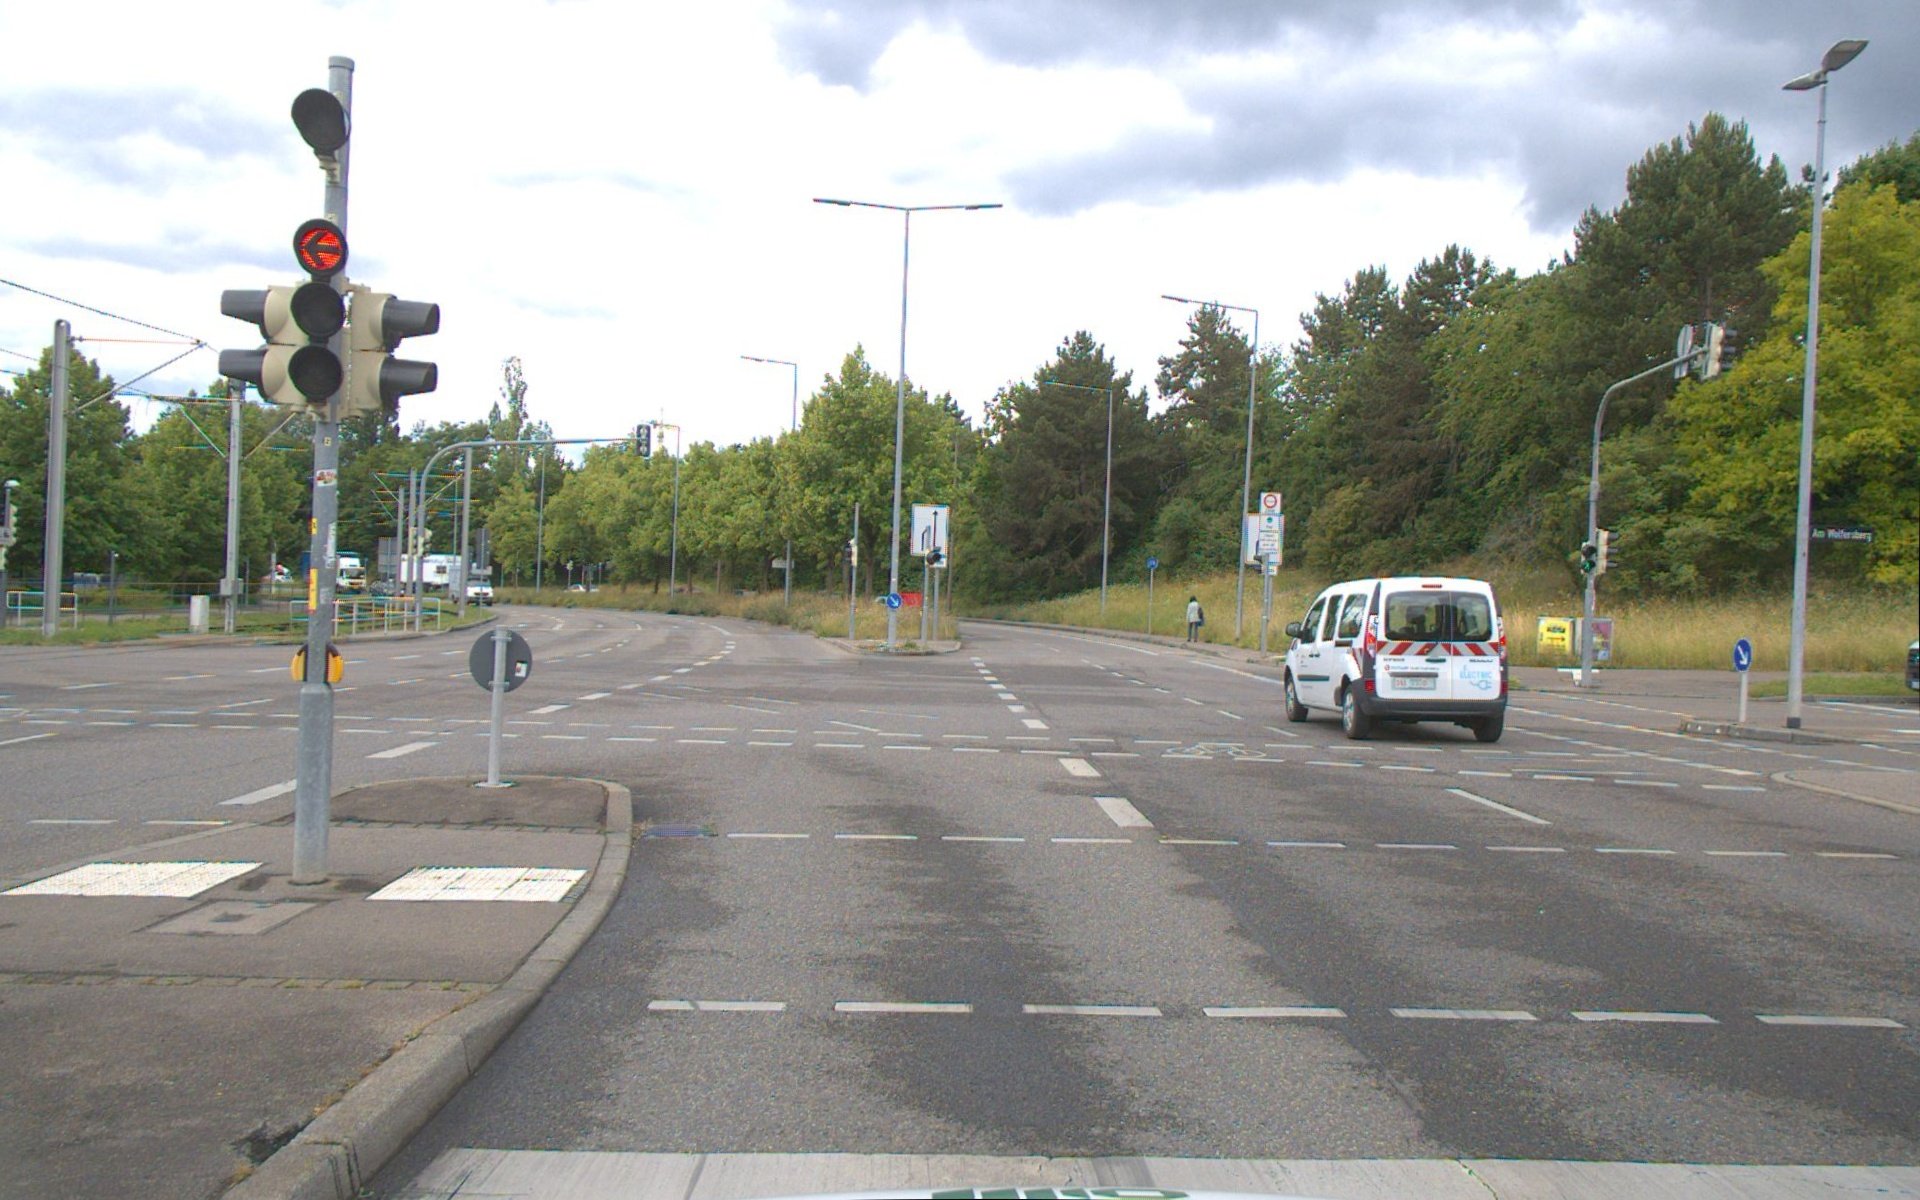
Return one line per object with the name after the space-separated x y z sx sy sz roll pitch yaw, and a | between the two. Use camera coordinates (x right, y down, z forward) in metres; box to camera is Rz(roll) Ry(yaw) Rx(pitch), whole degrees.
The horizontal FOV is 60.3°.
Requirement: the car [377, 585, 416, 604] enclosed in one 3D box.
-47.819 -0.476 140.289 1.768 1.471 4.467 -1 3 -38 | car

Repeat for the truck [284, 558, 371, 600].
-60.280 -2.015 157.378 3.035 3.826 12.607 1 0 -44 | truck

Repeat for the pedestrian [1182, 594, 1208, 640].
8.596 0.629 60.590 0.797 1.656 0.790 1 0 -1 | pedestrian

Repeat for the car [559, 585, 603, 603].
-33.057 -0.523 144.255 1.770 1.446 4.387 1 1 -44 | car

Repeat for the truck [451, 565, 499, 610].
-35.618 -0.915 121.379 2.093 3.190 5.841 1 0 -30 | truck

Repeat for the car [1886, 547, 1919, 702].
20.338 0.466 30.092 5.772 2.830 2.135 0 0 -1 | car

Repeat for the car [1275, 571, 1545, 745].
5.251 0.633 20.019 1.953 1.833 4.838 0 0 0 | car

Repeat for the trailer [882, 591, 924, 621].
-3.275 0.357 95.097 1.736 1.644 3.031 1 0 -15 | trailer

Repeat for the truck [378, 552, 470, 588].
-52.482 -2.940 161.703 11.187 3.387 2.736 1 0 38 | truck
